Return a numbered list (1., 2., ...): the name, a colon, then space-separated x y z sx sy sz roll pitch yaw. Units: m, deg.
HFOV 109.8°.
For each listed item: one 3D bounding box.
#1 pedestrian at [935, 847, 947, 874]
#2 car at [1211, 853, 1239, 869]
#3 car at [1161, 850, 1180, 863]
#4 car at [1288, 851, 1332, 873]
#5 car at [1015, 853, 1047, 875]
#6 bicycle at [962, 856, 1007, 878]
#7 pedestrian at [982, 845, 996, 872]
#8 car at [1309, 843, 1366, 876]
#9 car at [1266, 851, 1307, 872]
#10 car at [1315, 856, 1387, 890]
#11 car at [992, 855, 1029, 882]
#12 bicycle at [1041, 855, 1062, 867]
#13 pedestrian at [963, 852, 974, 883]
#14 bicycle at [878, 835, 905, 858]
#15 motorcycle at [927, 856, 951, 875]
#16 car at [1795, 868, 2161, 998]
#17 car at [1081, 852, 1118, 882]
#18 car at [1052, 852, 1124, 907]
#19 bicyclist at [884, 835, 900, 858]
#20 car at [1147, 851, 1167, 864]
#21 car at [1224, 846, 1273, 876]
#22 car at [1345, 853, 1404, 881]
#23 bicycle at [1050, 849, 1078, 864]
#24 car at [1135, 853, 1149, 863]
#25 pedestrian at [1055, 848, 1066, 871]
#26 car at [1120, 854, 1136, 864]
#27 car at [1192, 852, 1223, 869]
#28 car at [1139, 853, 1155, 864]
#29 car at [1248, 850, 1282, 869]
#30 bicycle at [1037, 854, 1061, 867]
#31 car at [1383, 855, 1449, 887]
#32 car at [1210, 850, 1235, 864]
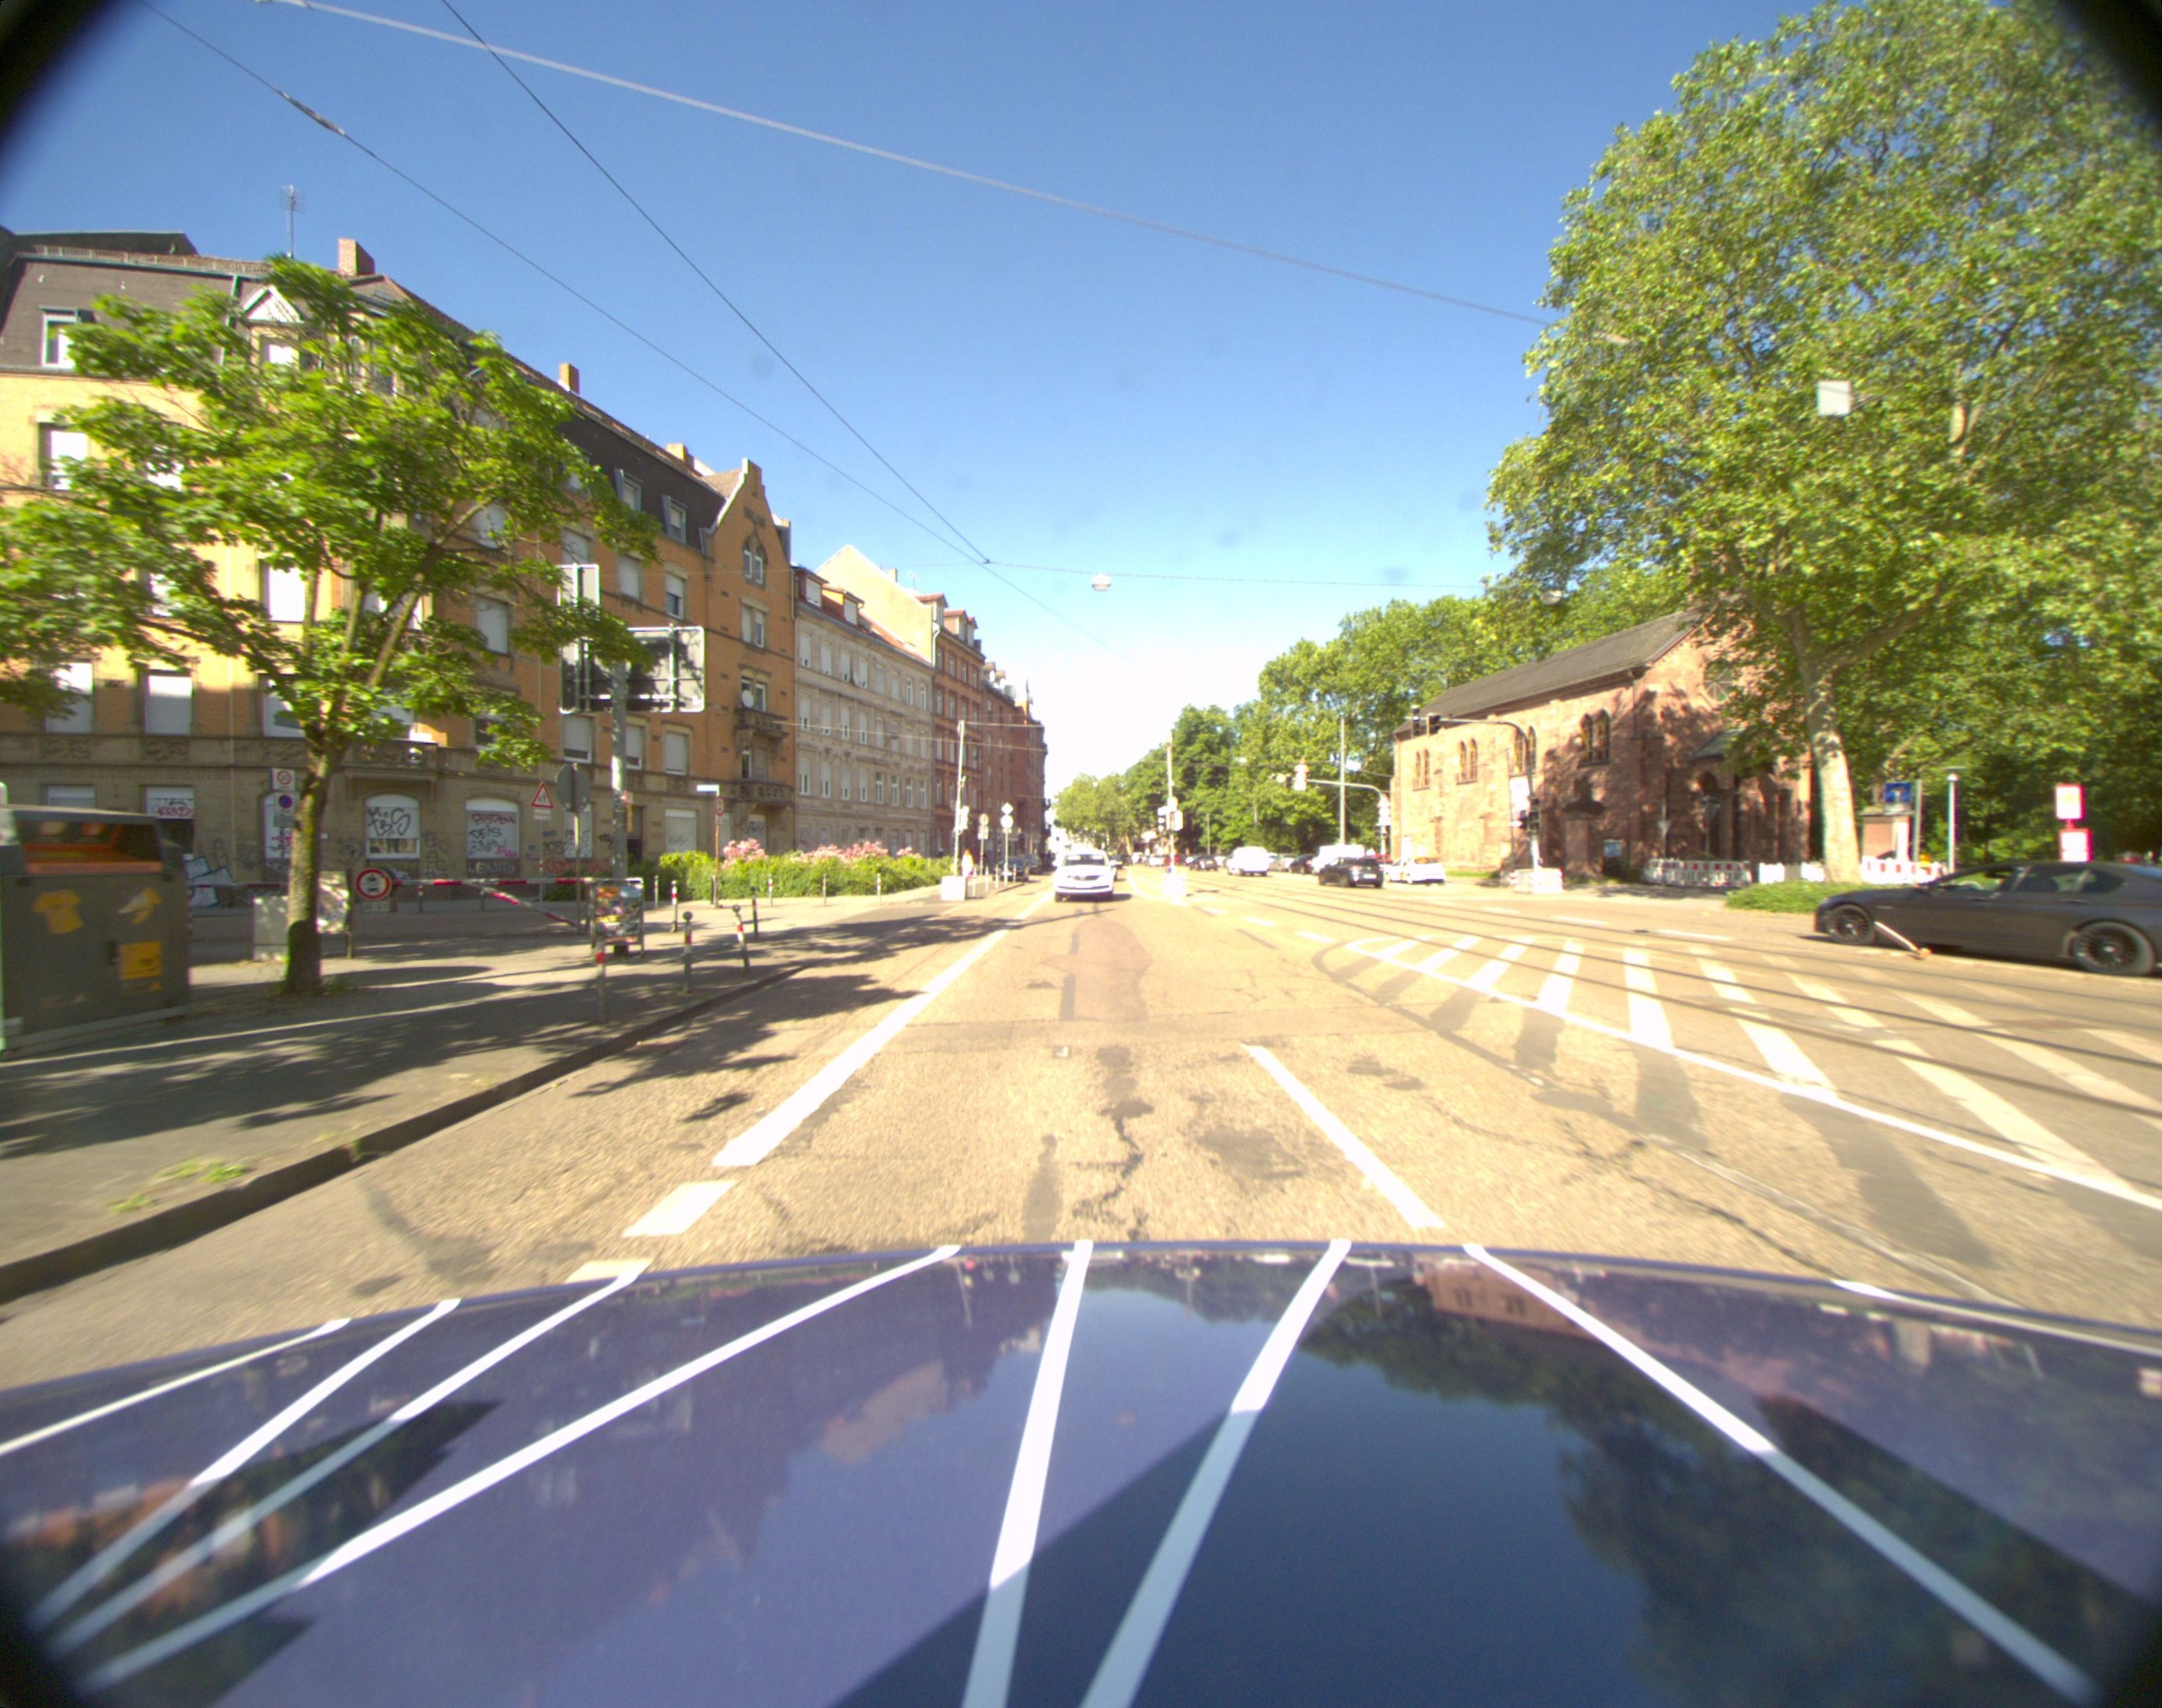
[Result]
1. pedestrian: -9.801 0.469 53.187 0.822 1.851 0.703 0 1 -12
2. car: 14.341 0.671 75.833 1.795 1.542 4.306 0 0 -2
3. car: 11.491 0.330 98.242 1.795 1.542 4.306 0 0 -2
4. car: 16.444 0.567 54.748 1.795 1.542 3.859 0 0 -3
5. car: -3.723 0.730 57.239 1.764 1.516 4.474 -1 0 4
6. bicycle: -6.463 0.845 51.803 1.969 1.408 6.828 0 0 2
7. pedestrian: -7.008 0.354 58.074 0.844 2.002 1.369 0 0 1
8. car: 16.561 0.342 49.303 1.921 2.084 4.591 0 0 -4
9. car: 16.098 0.584 59.792 1.796 1.542 4.305 0 0 -4
10. car: 12.135 0.795 34.406 1.620 1.404 4.086 -1 0 -3
11. car: -4.008 0.800 43.618 1.683 1.475 4.000 0 0 0
12. bicycle: -2.724 0.613 70.460 1.801 1.053 0.656 1 1 10
13. pedestrian: -6.081 0.725 41.209 0.551 1.666 0.687 0 1 -12
14. bicycle: -10.958 -0.421 44.109 0.956 1.278 2.237 0 0 1
15. motorcycle: -9.969 0.787 53.154 1.632 1.308 0.716 0 0 -12
16. car: 13.551 0.990 10.848 1.835 1.444 4.959 1 0 -4
17. car: 1.009 0.733 43.795 1.998 1.607 4.264 0 -1 0
18. car: 0.333 0.755 25.095 1.800 1.626 4.396 0 1 8
19. bicyclist: -10.966 -0.438 44.063 0.693 1.278 0.862 0 0 1
20. car: 8.778 0.376 87.991 1.798 1.421 4.375 0 0 -2
21. car: 11.137 0.471 50.828 2.066 1.880 4.516 2 0 -2
22. car: 17.012 0.712 44.261 1.795 1.542 3.859 0 0 -3
23. bicycle: -1.685 0.213 78.200 1.805 1.429 8.782 0 0 5
24. car: 9.464 0.593 118.274 1.795 1.542 4.306 0 0 -2
25. pedestrian: -1.604 0.403 59.506 0.735 1.784 0.884 0 0 1
26. car: 6.666 0.720 108.134 1.798 1.421 4.375 0 0 -2
27. car: 10.937 0.557 65.763 1.798 1.421 4.375 0 0 -2
28. car: 9.818 0.678 112.717 1.795 1.542 4.306 0 0 -2
29. car: 15.783 0.450 65.382 1.795 1.542 4.306 0 0 -2
30. bicycle: -2.903 0.596 68.805 1.917 1.130 0.846 1 1 13
31. car: 17.235 0.833 39.222 1.779 1.564 3.677 1 0 0
32. car: 15.160 0.323 81.741 1.795 1.542 4.306 0 0 -2
